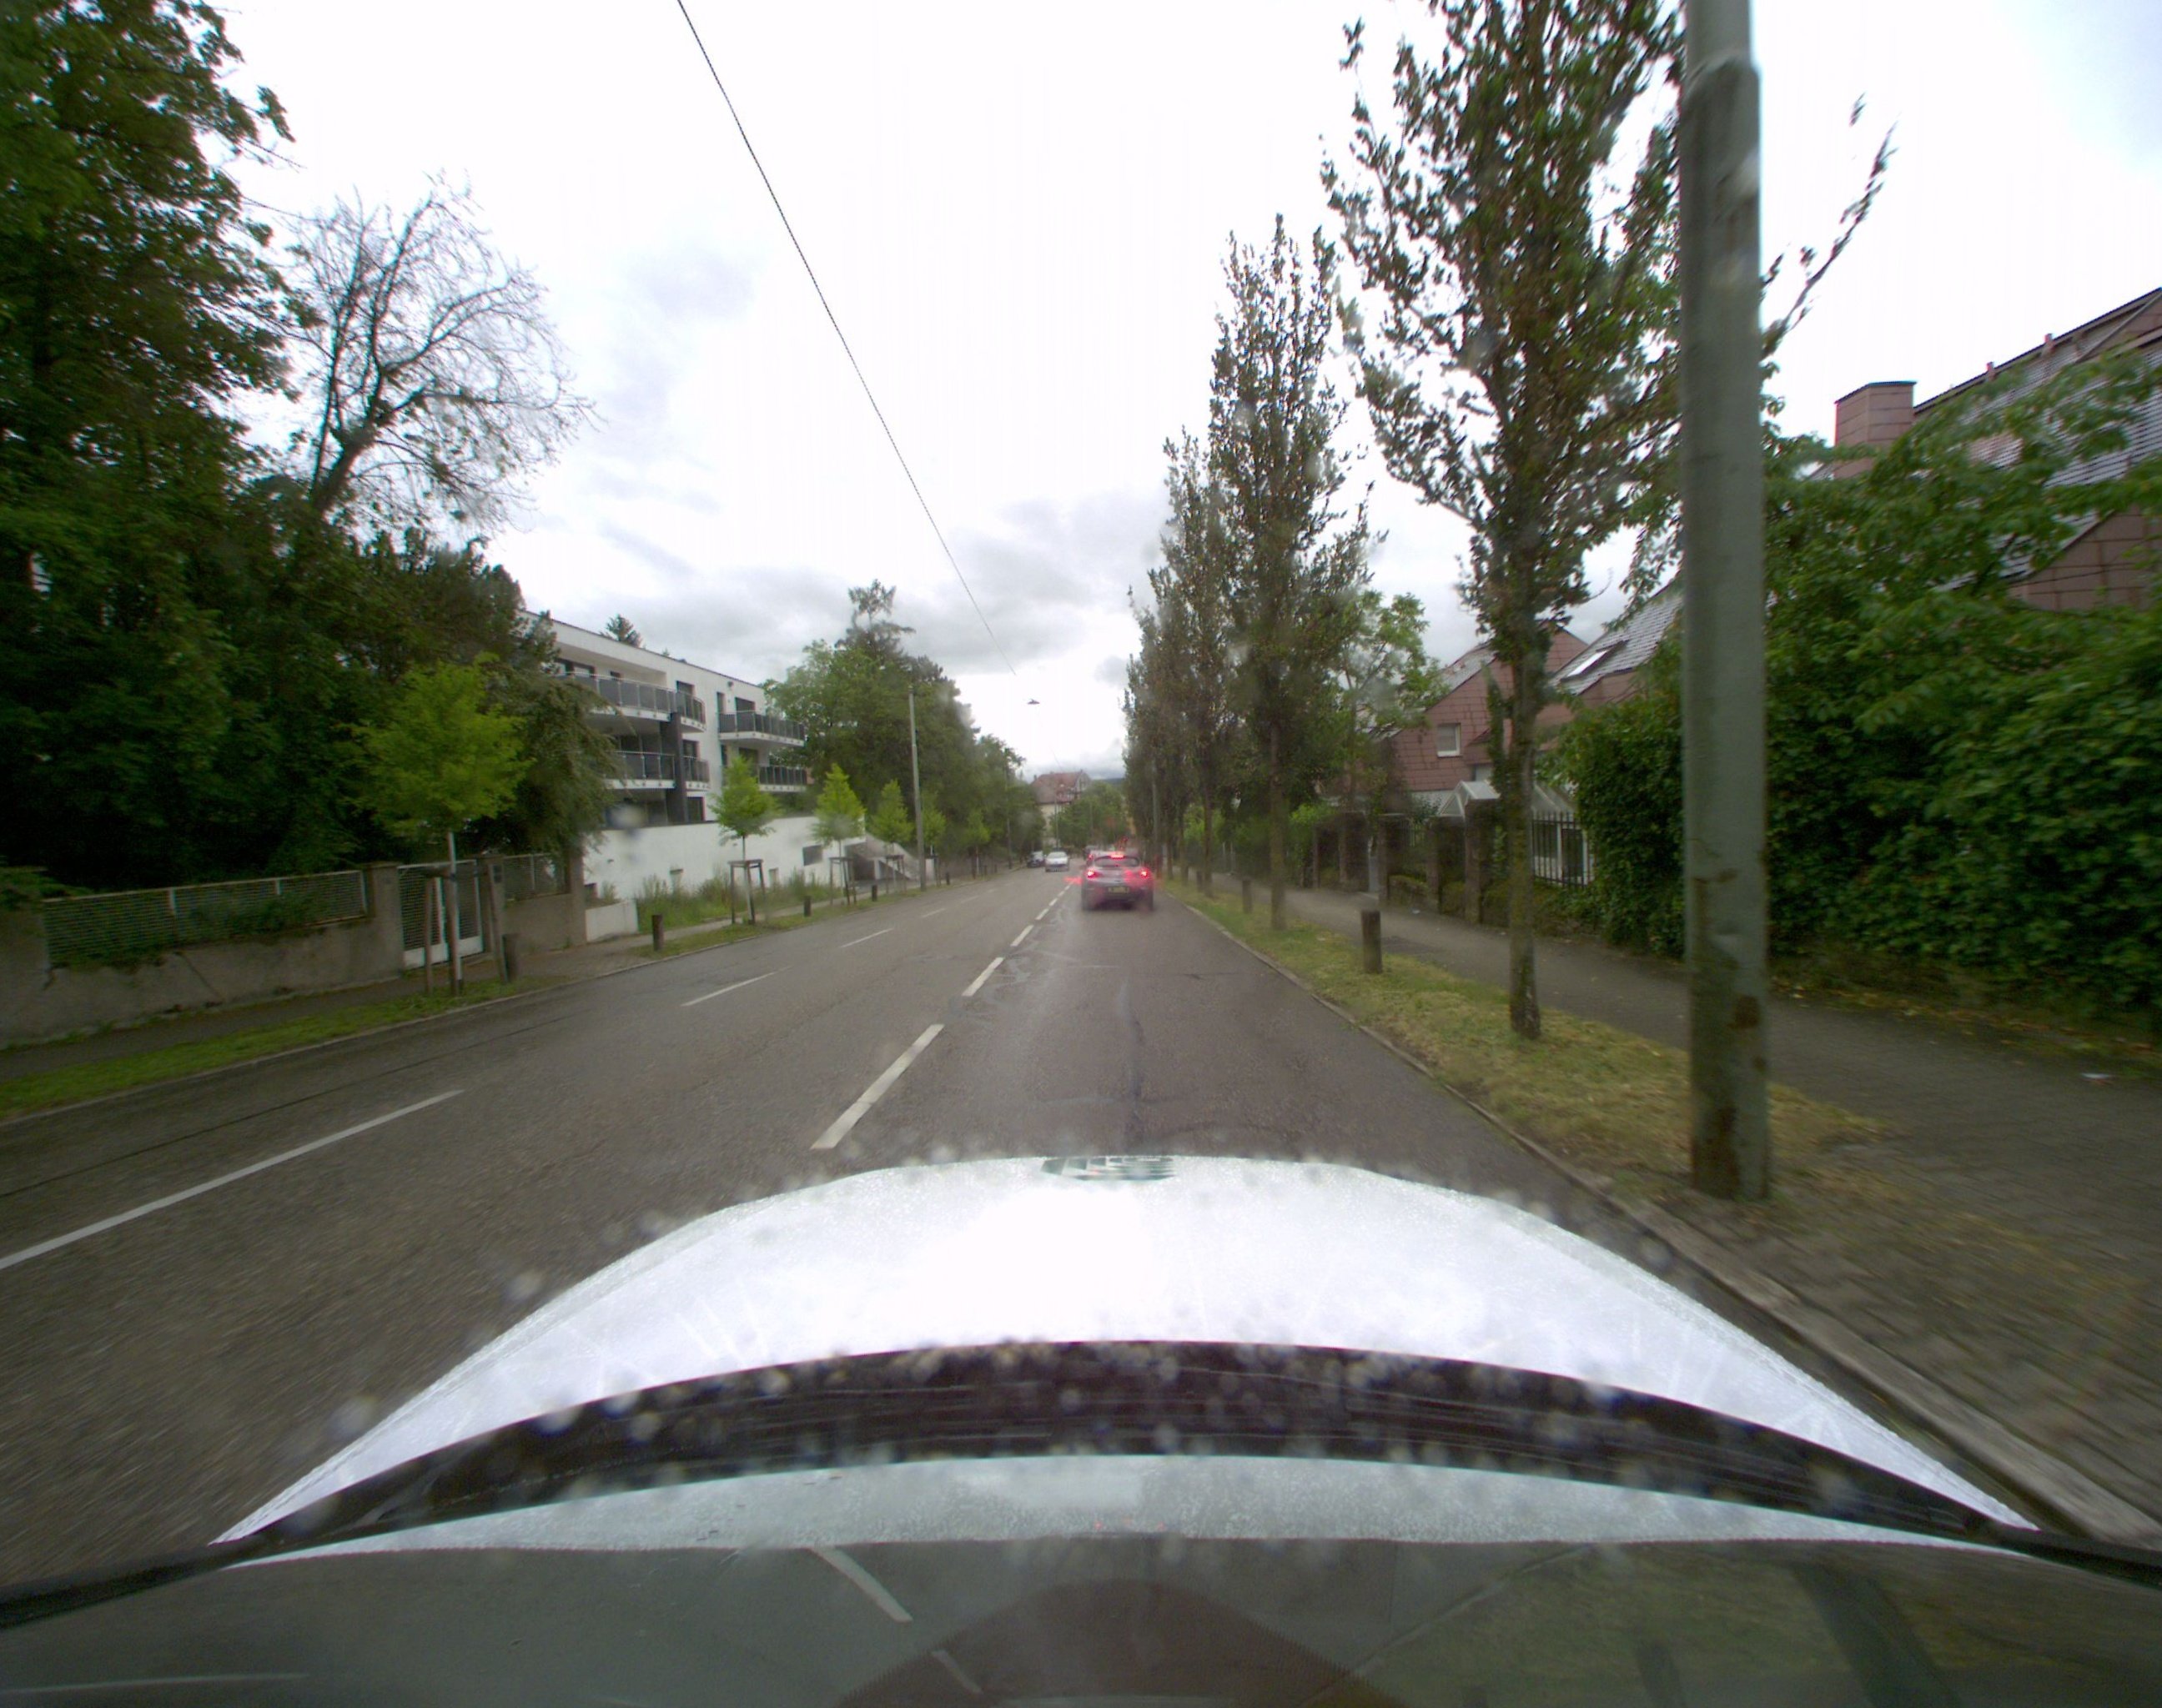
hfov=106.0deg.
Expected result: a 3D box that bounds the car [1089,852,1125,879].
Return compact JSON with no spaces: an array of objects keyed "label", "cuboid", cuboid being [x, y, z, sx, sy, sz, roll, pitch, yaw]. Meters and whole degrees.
[{"label":"car","cuboid":[1.434,0.577,43.461,1.790,1.323,4.004,-1,0,3]}]

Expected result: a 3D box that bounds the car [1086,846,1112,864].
[{"label":"car","cuboid":[1.643,0.096,73.308,1.950,1.472,3.959,1,1,7]}]

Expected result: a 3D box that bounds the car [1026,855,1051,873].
[{"label":"car","cuboid":[-3.906,0.895,75.706,1.738,1.549,3.922,-4,0,3]}]

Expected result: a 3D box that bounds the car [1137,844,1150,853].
[{"label":"car","cuboid":[13.882,-1.252,180.374,2.320,2.036,4.747,1,1,9]}]

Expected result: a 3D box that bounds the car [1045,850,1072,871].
[{"label":"car","cuboid":[-1.655,0.480,61.113,1.756,1.486,3.999,-3,0,0]}]

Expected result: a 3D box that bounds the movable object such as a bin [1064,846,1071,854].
[{"label":"movable object such as a bin","cuboid":[-2.359,-0.677,143.057,1.265,1.387,0.490,-1,1,6]}]

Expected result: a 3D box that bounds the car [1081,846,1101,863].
[{"label":"car","cuboid":[1.121,-0.015,90.436,1.759,1.781,3.985,1,1,7]}]

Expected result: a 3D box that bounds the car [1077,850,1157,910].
[{"label":"car","cuboid":[0.936,0.637,21.872,1.938,1.432,3.885,-1,0,2]}]

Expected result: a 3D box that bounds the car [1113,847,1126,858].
[{"label":"car","cuboid":[6.260,-0.226,130.969,1.745,1.651,4.008,1,0,7]}]
